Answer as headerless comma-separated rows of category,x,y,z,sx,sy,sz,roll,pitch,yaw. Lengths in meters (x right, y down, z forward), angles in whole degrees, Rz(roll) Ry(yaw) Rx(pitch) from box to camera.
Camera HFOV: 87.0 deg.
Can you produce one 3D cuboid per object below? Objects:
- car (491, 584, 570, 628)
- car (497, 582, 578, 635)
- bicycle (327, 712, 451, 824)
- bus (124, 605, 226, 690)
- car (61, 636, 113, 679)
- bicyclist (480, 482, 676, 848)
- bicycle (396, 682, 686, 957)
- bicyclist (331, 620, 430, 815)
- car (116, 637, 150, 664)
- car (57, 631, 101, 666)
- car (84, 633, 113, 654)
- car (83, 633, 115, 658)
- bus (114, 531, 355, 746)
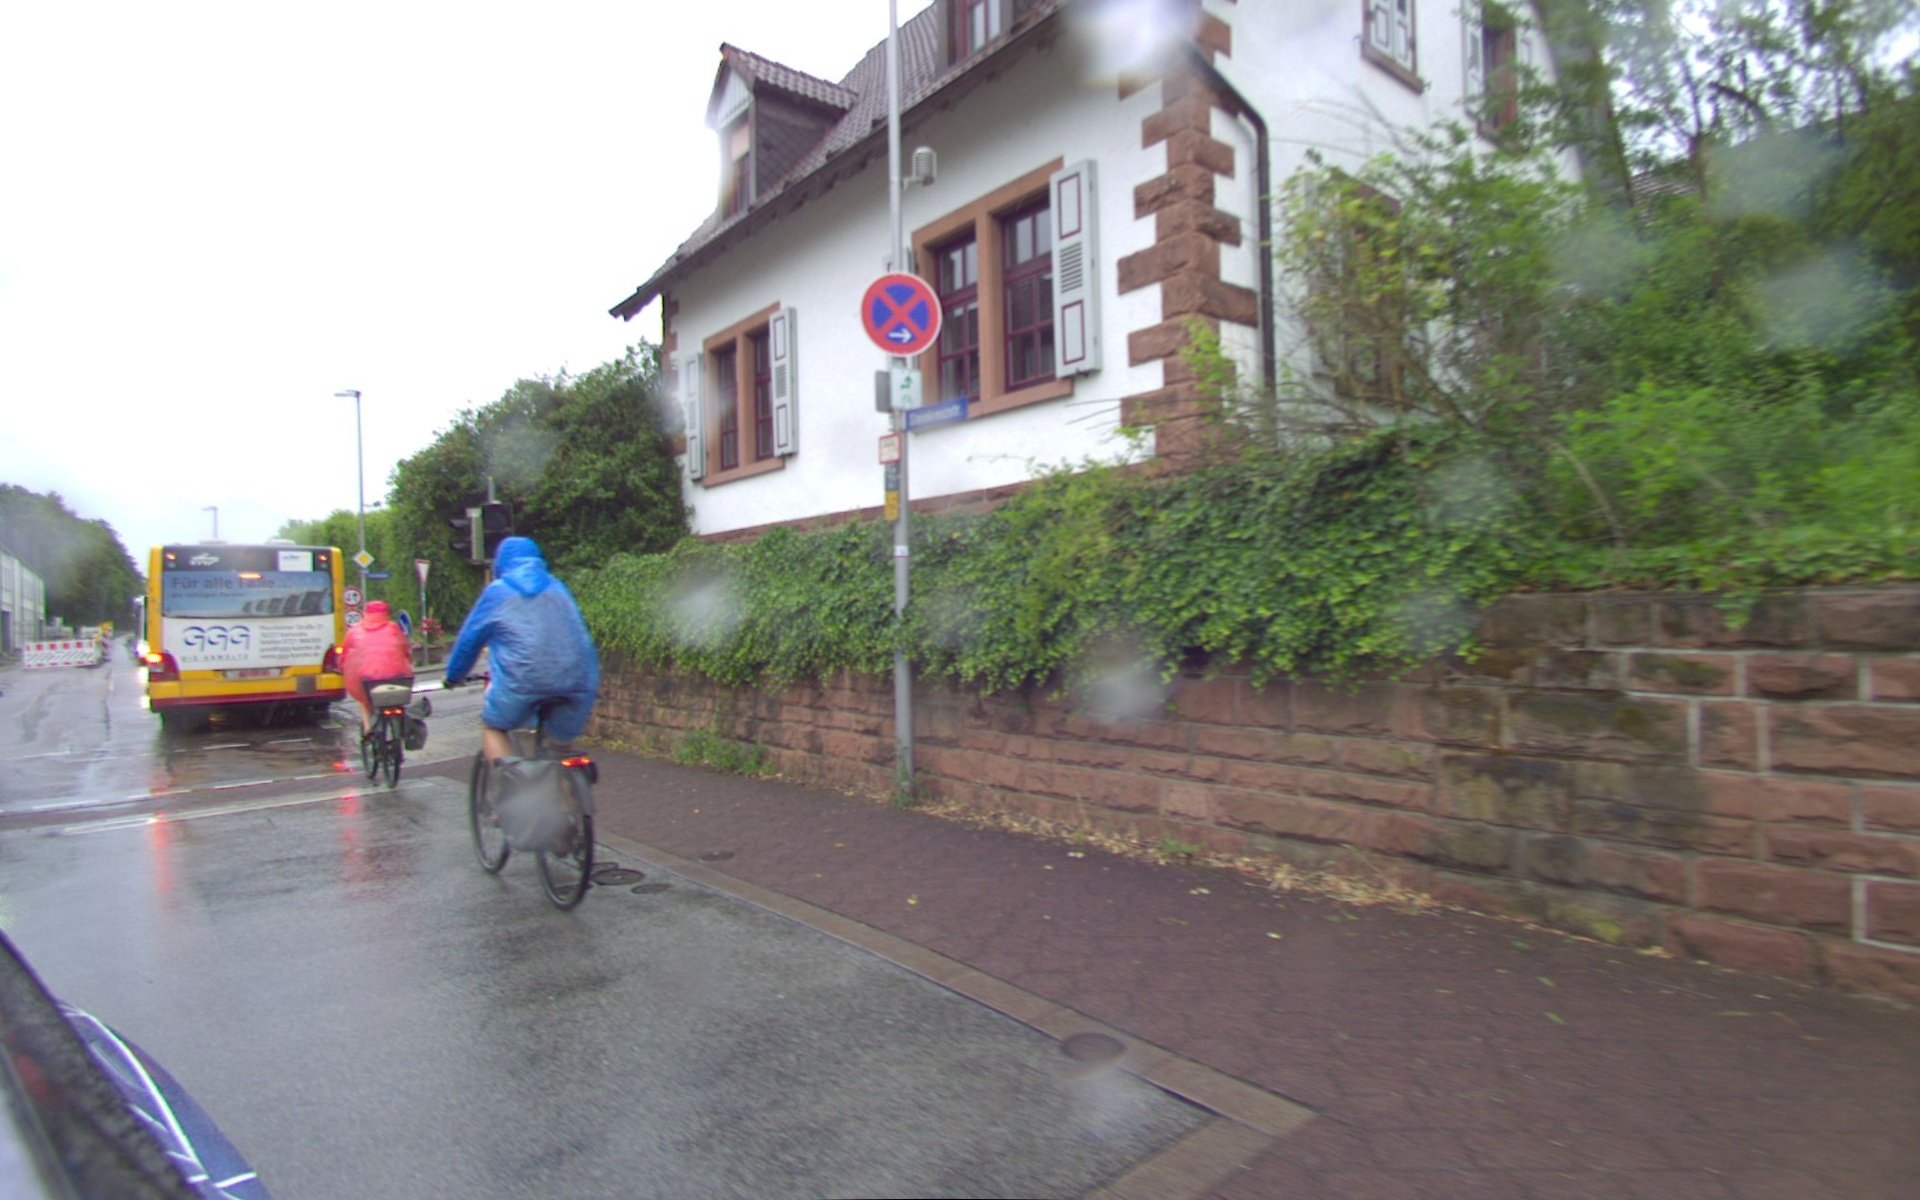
car,-18.652,0.279,43.832,1.969,1.728,4.195,-1,-1,-40
car,-17.988,0.356,42.998,1.969,2.078,4.195,-3,1,-40
bicycle,-5.611,1.584,9.885,0.653,0.877,1.937,-2,-2,-41
bus,-37.657,2.157,48.348,3.389,3.437,13.895,-1,-1,-39
car,-41.625,2.693,48.318,1.753,1.811,4.195,-2,0,-40
bicyclist,-1.991,0.311,5.261,0.679,1.726,0.704,-2,-1,-41
bicycle,-2.302,1.003,5.331,0.672,1.059,2.342,-2,-1,-41
bicyclist,-5.687,1.120,9.931,0.649,1.783,0.704,-2,-2,-41
car,-57.283,3.481,70.076,1.753,1.623,4.195,-4,1,-40
car,-49.608,2.699,57.051,1.753,1.811,4.195,-2,0,-40
car,-71.314,3.590,83.809,1.753,1.623,4.195,-2,1,-40
car,-65.589,3.448,77.141,1.754,1.623,4.195,-5,2,-40
bus,-13.971,0.658,19.650,2.769,2.961,11.969,-2,0,-36
